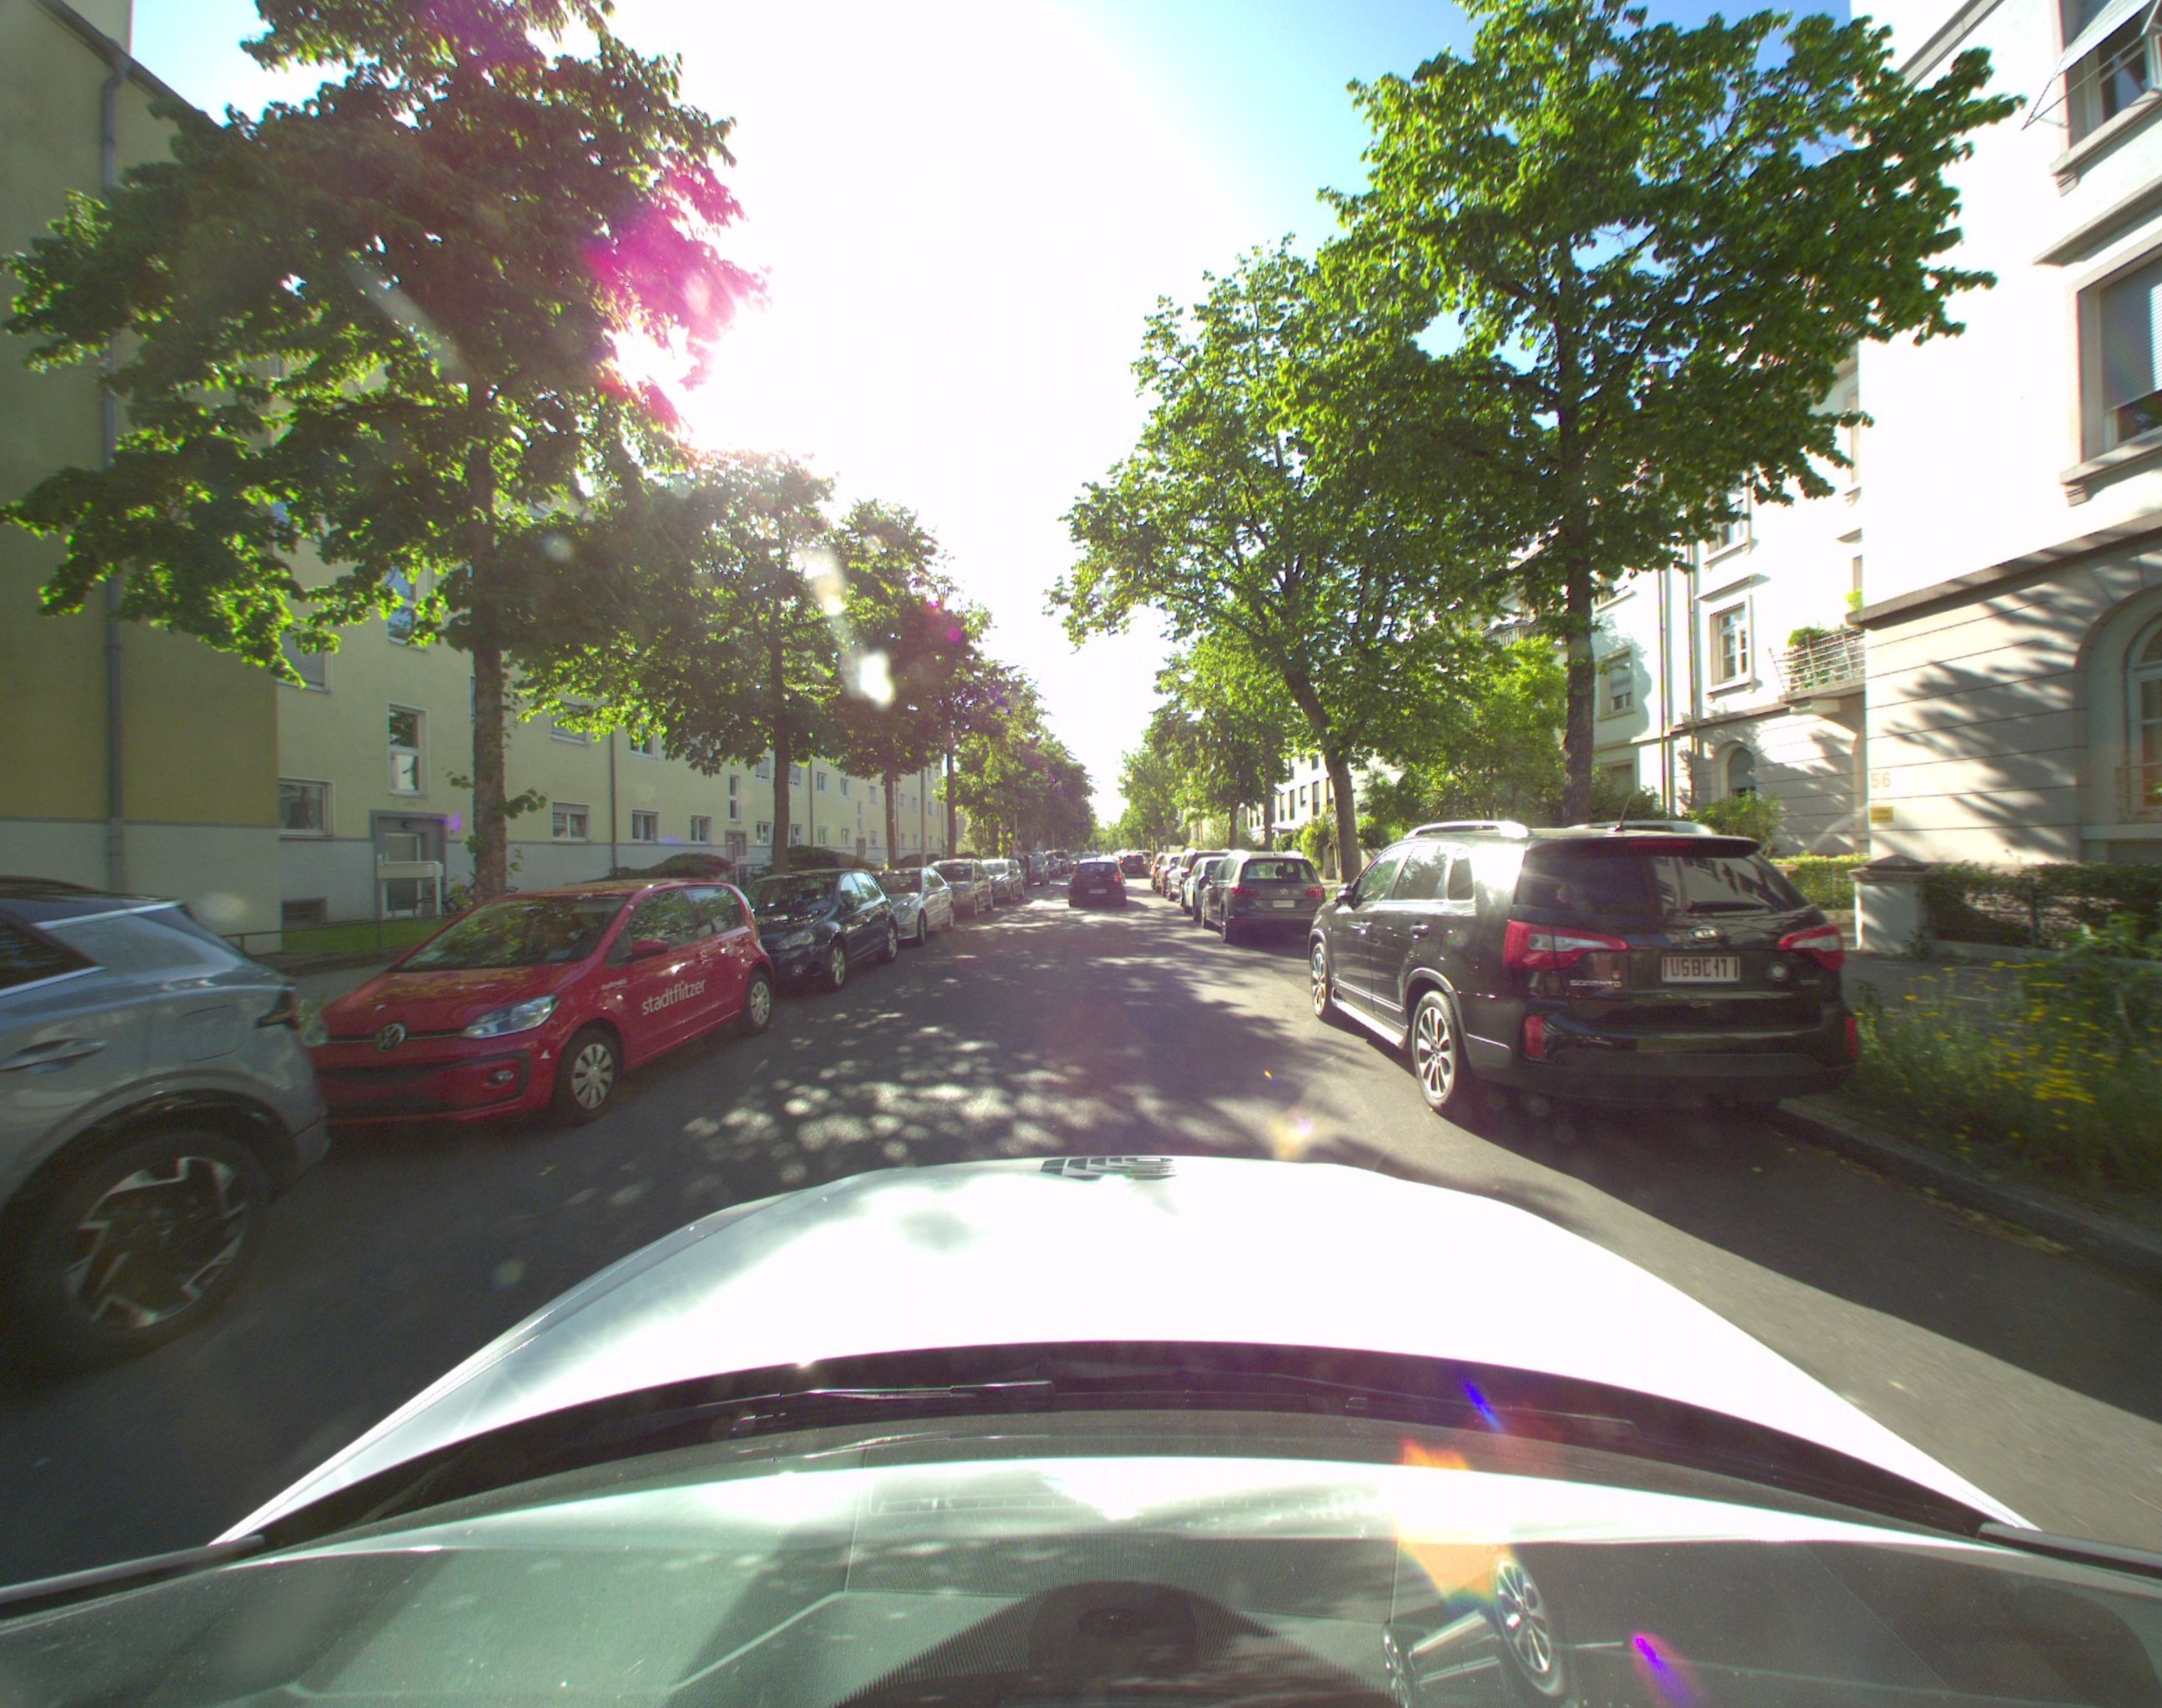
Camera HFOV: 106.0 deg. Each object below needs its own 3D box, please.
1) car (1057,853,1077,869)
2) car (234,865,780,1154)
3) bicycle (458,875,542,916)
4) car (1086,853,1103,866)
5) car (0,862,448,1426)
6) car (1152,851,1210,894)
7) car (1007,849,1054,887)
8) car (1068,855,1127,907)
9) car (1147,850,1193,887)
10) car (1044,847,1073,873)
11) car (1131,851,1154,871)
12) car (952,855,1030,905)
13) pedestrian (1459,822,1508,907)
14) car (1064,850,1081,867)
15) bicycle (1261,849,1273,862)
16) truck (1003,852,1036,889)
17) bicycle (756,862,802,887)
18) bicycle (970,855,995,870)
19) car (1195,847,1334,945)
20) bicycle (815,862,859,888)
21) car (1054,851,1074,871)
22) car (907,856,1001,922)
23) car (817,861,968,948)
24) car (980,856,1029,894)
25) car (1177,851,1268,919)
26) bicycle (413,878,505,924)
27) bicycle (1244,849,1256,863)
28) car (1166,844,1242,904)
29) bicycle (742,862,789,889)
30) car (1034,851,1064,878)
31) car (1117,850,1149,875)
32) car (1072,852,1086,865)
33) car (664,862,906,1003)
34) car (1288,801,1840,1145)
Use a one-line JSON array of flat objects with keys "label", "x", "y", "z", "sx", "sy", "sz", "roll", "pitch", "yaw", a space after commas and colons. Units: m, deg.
[{"label": "car", "x": -1.271, "y": 0.630, "z": 74.940, "sx": 1.606, "sy": 1.427, "sz": 4.059, "roll": -3, "pitch": 0, "yaw": 1}, {"label": "car", "x": -3.769, "y": 0.881, "z": 6.115, "sx": 1.658, "sy": 1.486, "sz": 3.258, "roll": -2, "pitch": 0, "yaw": 2}, {"label": "bicycle", "x": -14.439, "y": 1.014, "z": 20.271, "sx": 1.630, "sy": 0.930, "sz": 0.480, "roll": -2, "pitch": 0, "yaw": -7}, {"label": "car", "x": 1.494, "y": 0.580, "z": 87.486, "sx": 1.498, "sy": 1.426, "sz": 3.183, "roll": -1, "pitch": 0, "yaw": 6}, {"label": "car", "x": -3.923, "y": 0.863, "z": 1.532, "sx": 1.686, "sy": 1.565, "sz": 4.735, "roll": -2, "pitch": 0, "yaw": 0}, {"label": "car", "x": 3.605, "y": 0.619, "z": 29.922, "sx": 1.644, "sy": 1.428, "sz": 3.612, "roll": -2, "pitch": 0, "yaw": 0}, {"label": "car", "x": -2.492, "y": 0.657, "z": 41.541, "sx": 1.842, "sy": 1.680, "sz": 4.979, "roll": -4, "pitch": 0, "yaw": 2}, {"label": "car", "x": 0.516, "y": 0.763, "z": 24.843, "sx": 1.643, "sy": 1.397, "sz": 3.413, "roll": -2, "pitch": 0, "yaw": 1}, {"label": "car", "x": 3.775, "y": 0.584, "z": 34.985, "sx": 1.630, "sy": 1.454, "sz": 4.101, "roll": -2, "pitch": 0, "yaw": 2}, {"label": "car", "x": -1.730, "y": 0.423, "z": 64.115, "sx": 1.819, "sy": 1.904, "sz": 5.145, "roll": -3, "pitch": 0, "yaw": 3}, {"label": "car", "x": 5.024, "y": 0.560, "z": 66.747, "sx": 1.840, "sy": 1.631, "sz": 4.414, "roll": -1, "pitch": 0, "yaw": 4}, {"label": "car", "x": -2.980, "y": 0.833, "z": 28.042, "sx": 1.784, "sy": 1.444, "sz": 4.693, "roll": -3, "pitch": 0, "yaw": 4}, {"label": "pedestrian", "x": 8.742, "y": 0.217, "z": 17.711, "sx": 0.620, "sy": 1.775, "sz": 0.800, "roll": -2, "pitch": 0, "yaw": 2}, {"label": "car", "x": -0.865, "y": 0.432, "z": 85.473, "sx": 1.606, "sy": 1.679, "sz": 4.235, "roll": -3, "pitch": 0, "yaw": 1}, {"label": "bicycle", "x": 14.896, "y": 0.129, "z": 65.310, "sx": 0.544, "sy": 1.055, "sz": 1.779, "roll": -2, "pitch": 0, "yaw": -1}, {"label": "truck", "x": -2.781, "y": 0.702, "z": 36.914, "sx": 1.079, "sy": 1.577, "sz": 2.434, "roll": -2, "pitch": 0, "yaw": 4}, {"label": "bicycle", "x": -13.628, "y": 0.928, "z": 36.726, "sx": 1.834, "sy": 1.081, "sz": 0.486, "roll": 1, "pitch": -3, "yaw": -2}, {"label": "bicycle", "x": -8.804, "y": 0.759, "z": 72.760, "sx": 2.144, "sy": 1.208, "sz": 0.688, "roll": -2, "pitch": 0, "yaw": -9}, {"label": "car", "x": 3.318, "y": 0.669, "z": 15.559, "sx": 1.678, "sy": 1.588, "sz": 4.536, "roll": 1, "pitch": 0, "yaw": 1}, {"label": "bicycle", "x": -10.988, "y": 0.950, "z": 36.703, "sx": 1.834, "sy": 1.081, "sz": 0.486, "roll": -2, "pitch": 0, "yaw": -2}, {"label": "car", "x": -1.442, "y": 0.551, "z": 69.632, "sx": 1.607, "sy": 1.611, "sz": 4.229, "roll": -3, "pitch": 0, "yaw": 0}, {"label": "car", "x": -3.381, "y": 0.872, "z": 22.432, "sx": 1.614, "sy": 1.515, "sz": 4.272, "roll": -4, "pitch": 0, "yaw": 3}, {"label": "car", "x": -3.604, "y": 0.904, "z": 16.496, "sx": 1.738, "sy": 1.368, "sz": 4.677, "roll": -2, "pitch": 0, "yaw": 2}, {"label": "car", "x": -3.039, "y": 0.810, "z": 32.892, "sx": 1.515, "sy": 1.395, "sz": 3.727, "roll": -2, "pitch": 0, "yaw": 1}, {"label": "car", "x": 3.379, "y": 0.685, "z": 20.157, "sx": 1.623, "sy": 1.425, "sz": 4.370, "roll": -2, "pitch": 0, "yaw": 2}, {"label": "bicycle", "x": -13.898, "y": 1.039, "z": 18.208, "sx": 1.627, "sy": 0.930, "sz": 0.481, "roll": -2, "pitch": 0, "yaw": -1}, {"label": "bicycle", "x": 13.537, "y": 0.173, "z": 65.303, "sx": 0.544, "sy": 1.055, "sz": 1.691, "roll": -2, "pitch": 0, "yaw": -1}, {"label": "car", "x": 3.645, "y": 0.561, "z": 24.798, "sx": 1.644, "sy": 1.655, "sz": 3.845, "roll": -1, "pitch": 0, "yaw": -1}, {"label": "bicycle", "x": -13.551, "y": 0.914, "z": 34.988, "sx": 1.831, "sy": 1.146, "sz": 0.487, "roll": 1, "pitch": -1, "yaw": 4}, {"label": "car", "x": -2.056, "y": 0.660, "z": 53.496, "sx": 1.502, "sy": 1.548, "sz": 4.780, "roll": -4, "pitch": 0, "yaw": 2}, {"label": "car", "x": 3.197, "y": 0.512, "z": 50.901, "sx": 1.644, "sy": 1.425, "sz": 3.999, "roll": -2, "pitch": 0, "yaw": -1}, {"label": "car", "x": -0.182, "y": 0.525, "z": 102.696, "sx": 1.606, "sy": 1.543, "sz": 3.867, "roll": -3, "pitch": 0, "yaw": 1}, {"label": "car", "x": -3.714, "y": 0.890, "z": 11.017, "sx": 1.658, "sy": 1.458, "sz": 3.935, "roll": -2, "pitch": 0, "yaw": 2}, {"label": "car", "x": 3.004, "y": 0.594, "z": 6.299, "sx": 1.774, "sy": 1.698, "sz": 4.299, "roll": -2, "pitch": 0, "yaw": 2}]
